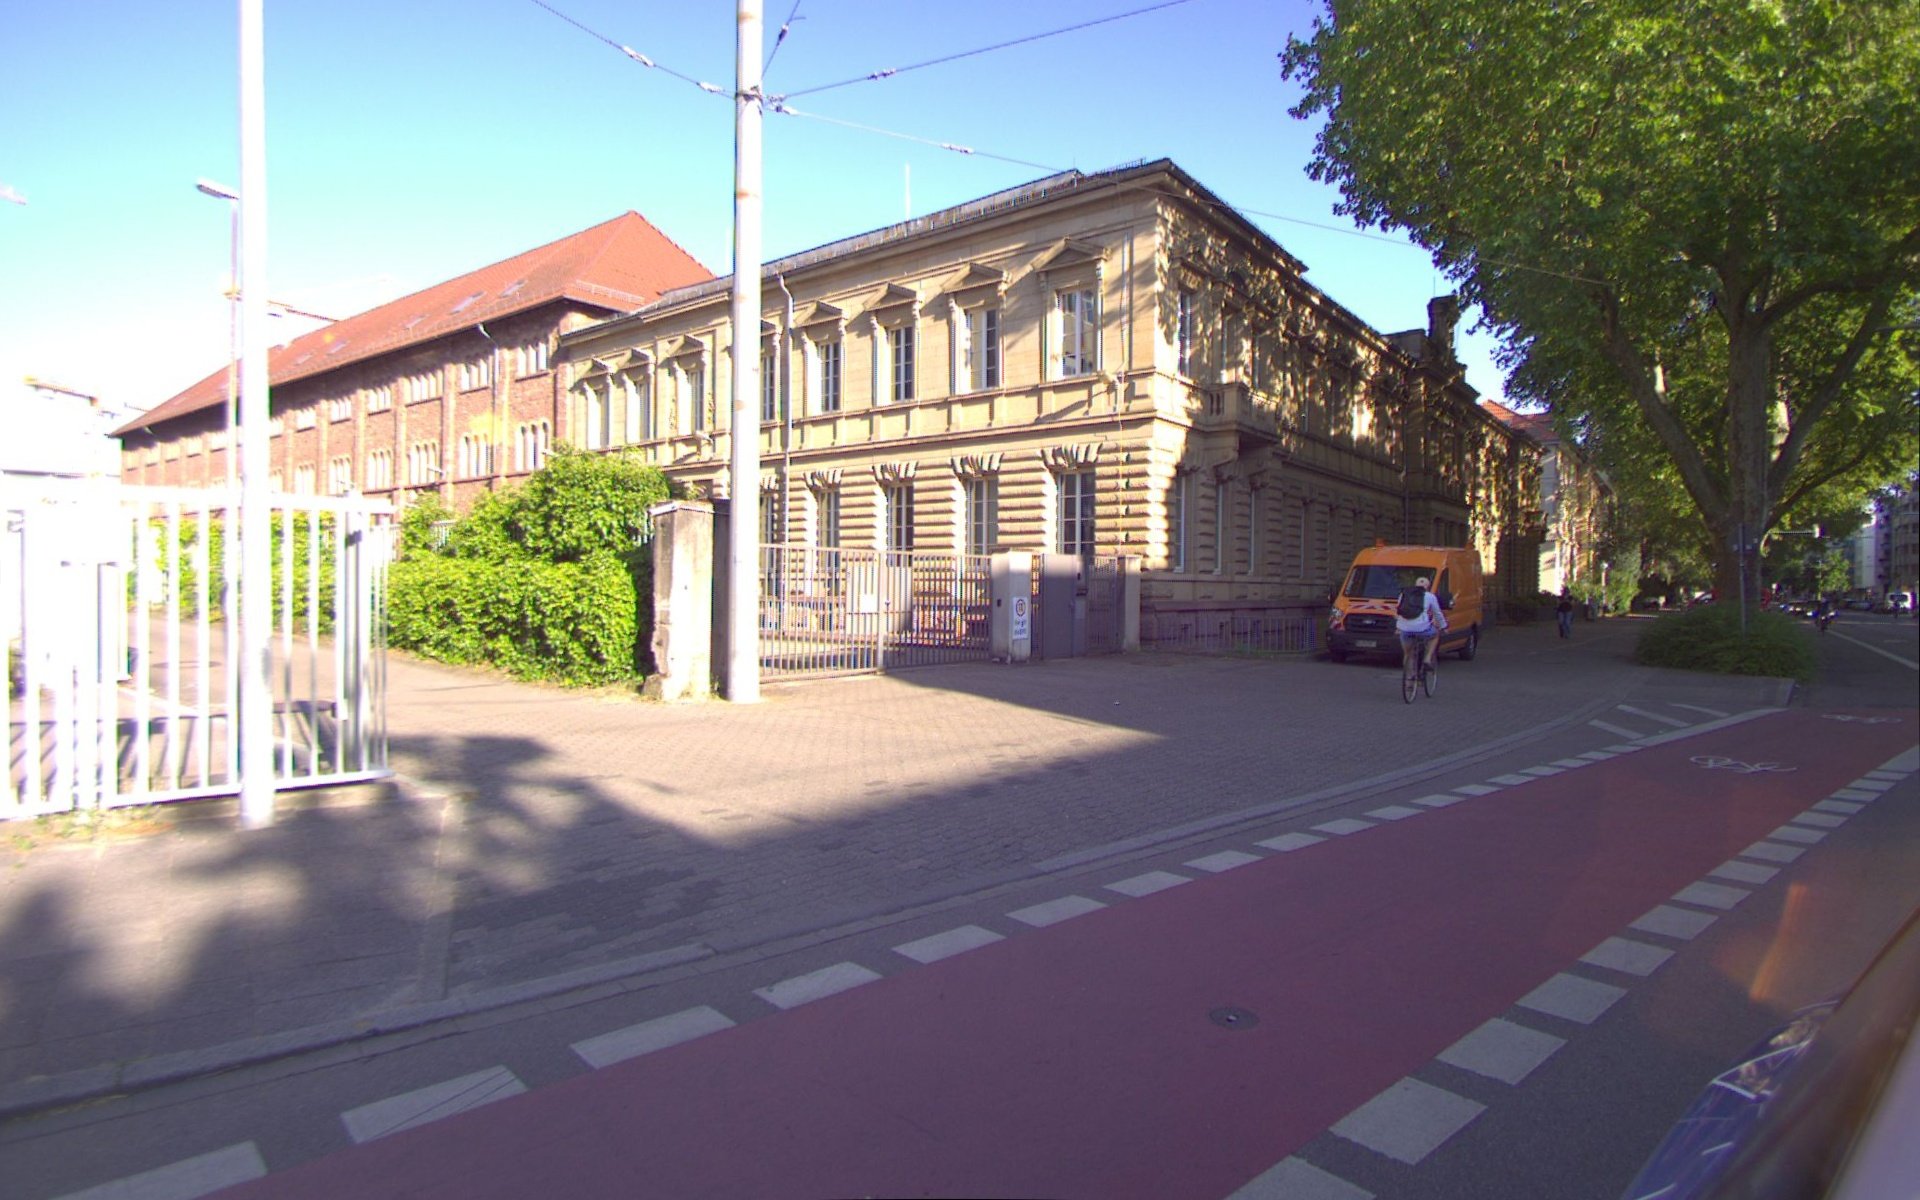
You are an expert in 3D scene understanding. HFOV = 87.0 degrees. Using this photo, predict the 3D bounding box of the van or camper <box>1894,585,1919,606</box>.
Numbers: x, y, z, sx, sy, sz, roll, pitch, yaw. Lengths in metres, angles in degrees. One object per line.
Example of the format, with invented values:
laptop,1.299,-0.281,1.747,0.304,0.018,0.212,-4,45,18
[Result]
van or camper,108.393,-0.561,115.662,1.935,2.309,4.536,-2,-1,37

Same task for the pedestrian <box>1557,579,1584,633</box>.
pedestrian,20.549,0.187,34.042,0.649,1.758,0.993,1,1,39

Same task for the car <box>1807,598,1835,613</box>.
car,82.518,0.518,97.032,1.731,1.390,3.866,-1,-1,37

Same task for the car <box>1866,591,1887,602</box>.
car,129.911,-0.536,143.479,1.798,1.563,3.868,-1,-1,36

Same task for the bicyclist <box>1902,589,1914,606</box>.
bicyclist,90.287,-0.229,96.400,0.711,1.536,0.940,1,1,39

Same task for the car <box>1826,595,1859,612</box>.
car,73.850,0.281,84.711,1.731,1.390,3.866,-1,-1,37

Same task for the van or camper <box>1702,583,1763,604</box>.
van or camper,98.077,-0.831,128.567,6.073,2.461,2.394,1,1,39

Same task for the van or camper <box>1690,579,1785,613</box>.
van or camper,62.270,-0.334,81.214,5.897,2.528,2.193,1,3,37

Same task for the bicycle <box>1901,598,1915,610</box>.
bicycle,90.259,0.356,96.358,0.711,1.152,2.091,1,1,38

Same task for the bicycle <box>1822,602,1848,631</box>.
bicycle,36.891,0.689,42.680,0.711,1.152,2.091,1,1,38

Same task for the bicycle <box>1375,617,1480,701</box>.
bicycle,6.710,0.810,14.491,1.869,1.045,0.675,0,3,-43

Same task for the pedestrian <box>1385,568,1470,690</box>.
pedestrian,6.664,0.392,14.424,1.083,1.639,0.670,0,3,-43

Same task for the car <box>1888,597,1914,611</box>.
car,111.582,0.449,120.036,1.799,1.563,3.866,-1,-1,37

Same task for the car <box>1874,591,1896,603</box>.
car,123.769,-0.408,135.405,1.799,1.563,3.866,-1,-1,37

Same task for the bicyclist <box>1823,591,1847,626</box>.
bicyclist,36.862,0.350,42.627,0.712,1.461,0.940,1,1,40

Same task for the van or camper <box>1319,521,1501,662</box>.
van or camper,9.646,-0.188,21.391,2.033,2.591,5.690,1,1,40

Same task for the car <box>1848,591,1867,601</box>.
car,138.797,-0.582,156.495,1.798,1.563,3.868,-1,-1,36
